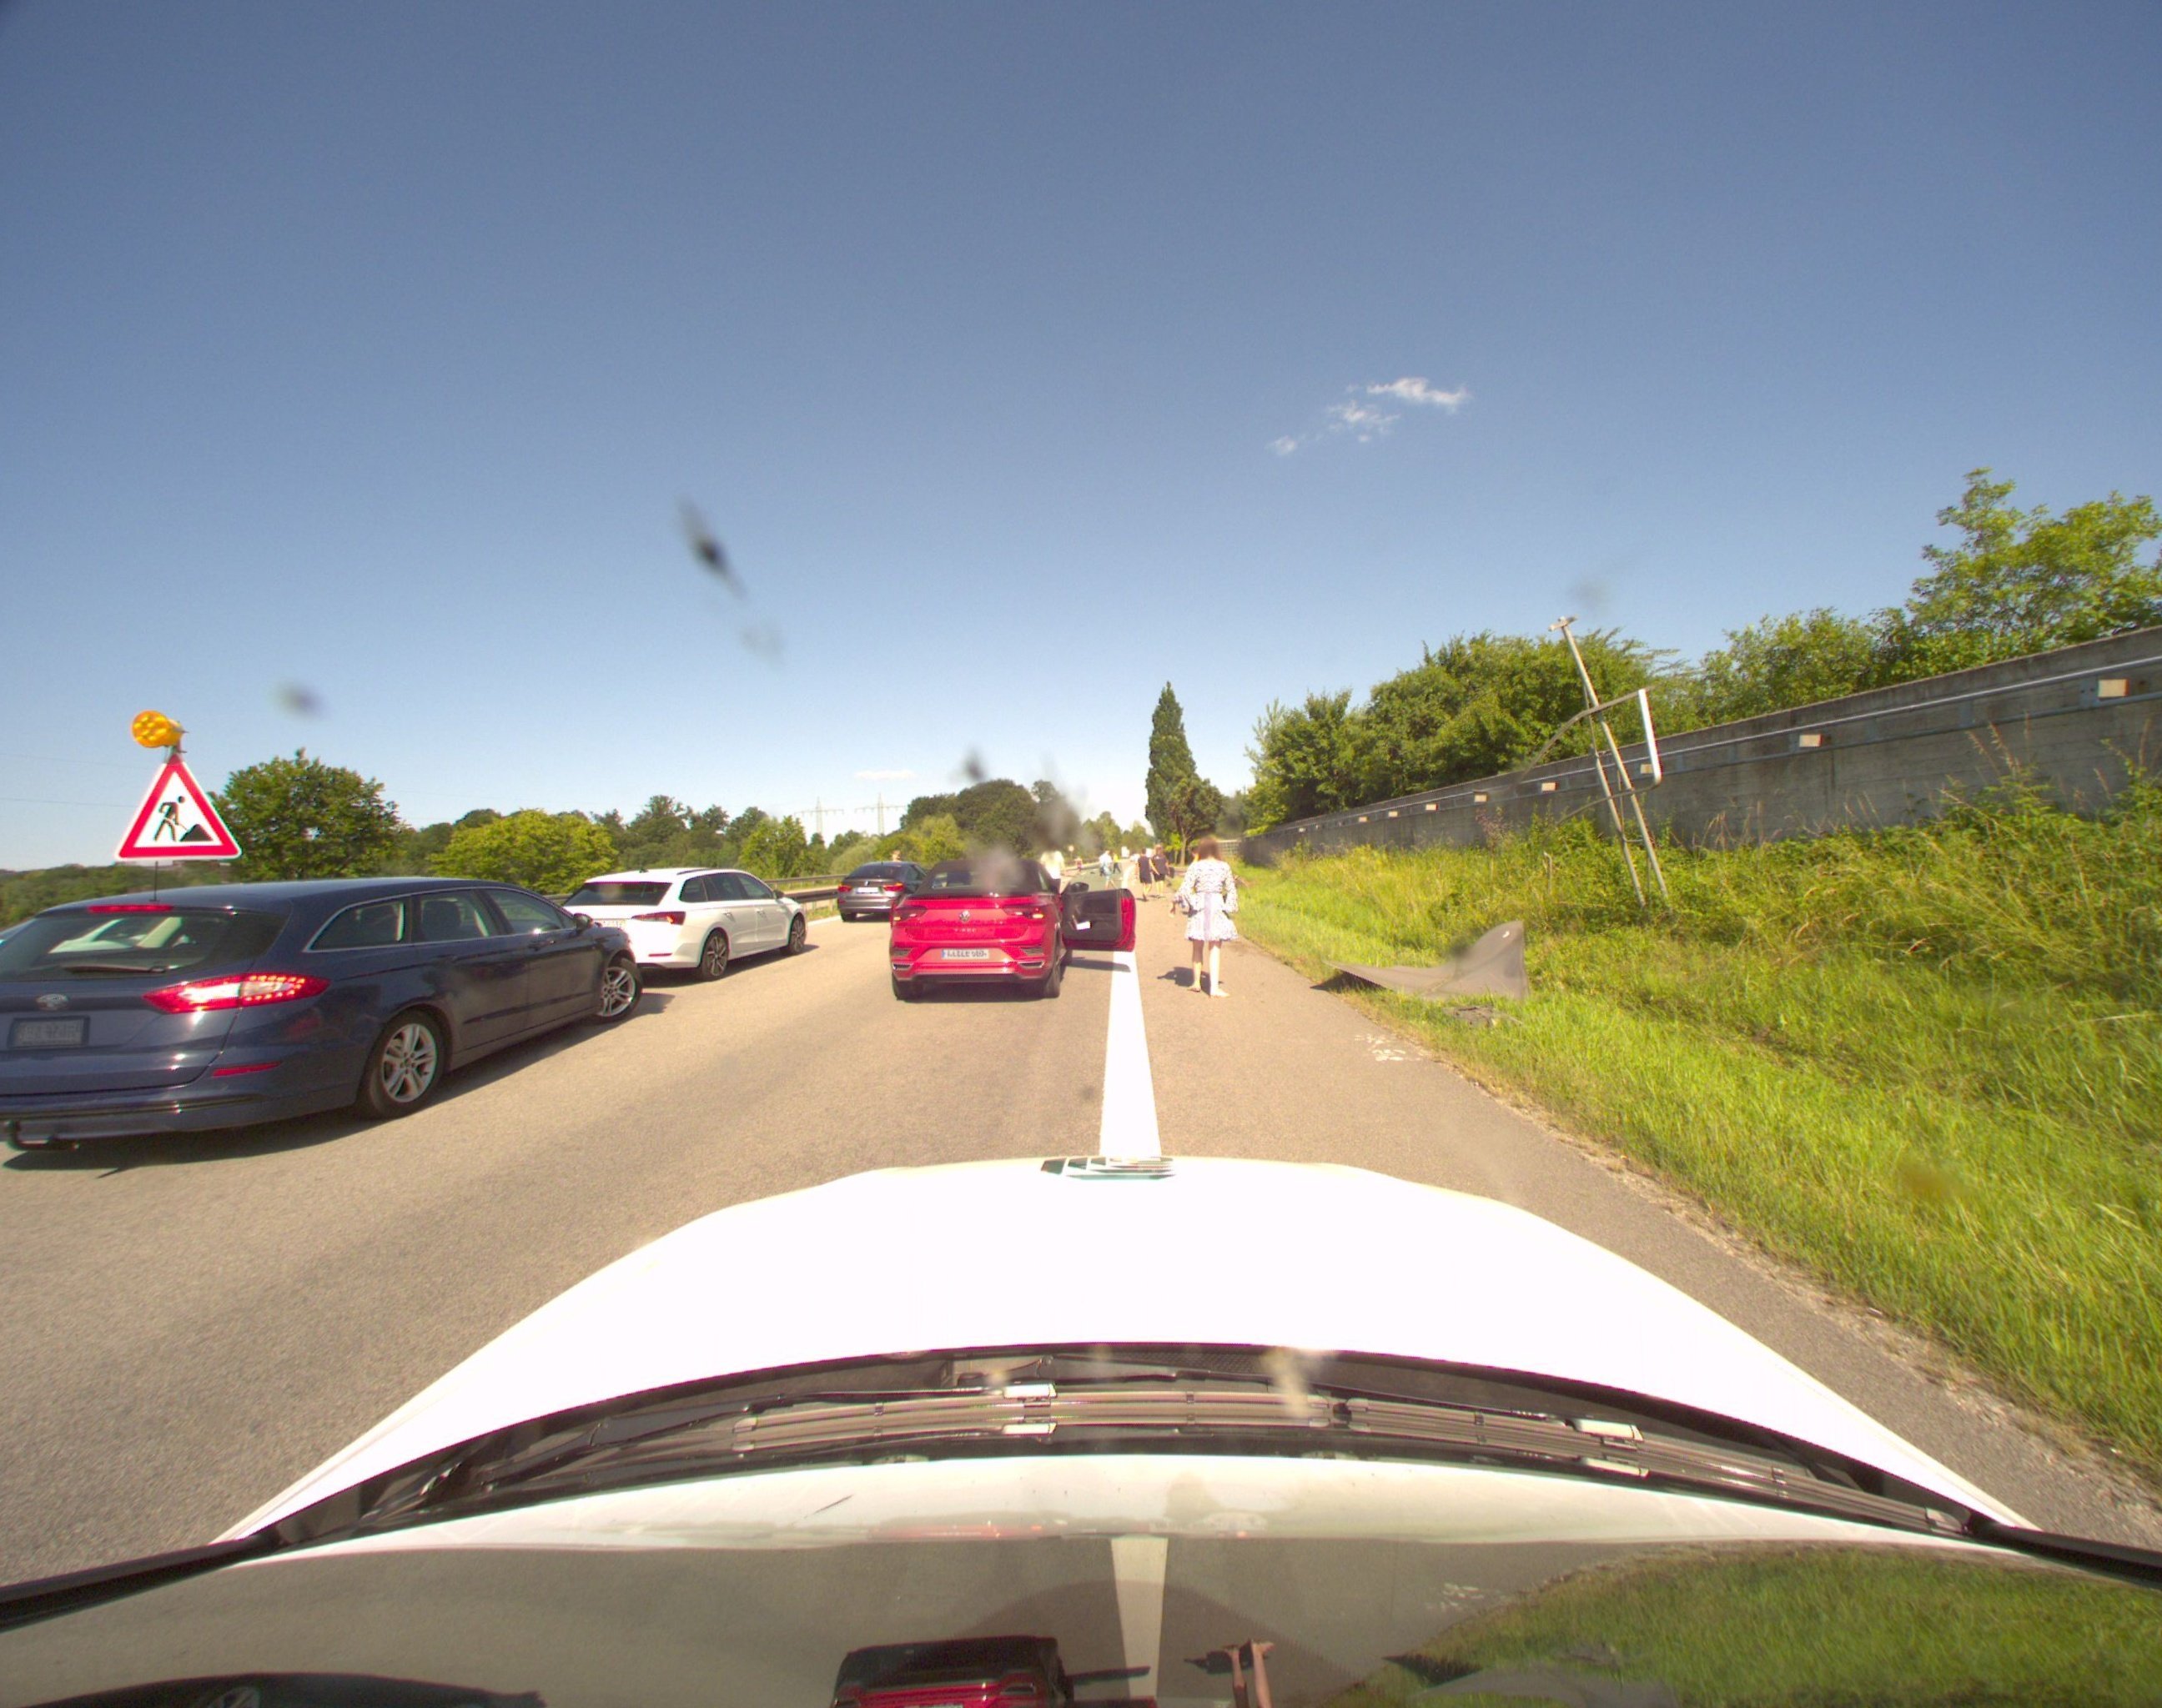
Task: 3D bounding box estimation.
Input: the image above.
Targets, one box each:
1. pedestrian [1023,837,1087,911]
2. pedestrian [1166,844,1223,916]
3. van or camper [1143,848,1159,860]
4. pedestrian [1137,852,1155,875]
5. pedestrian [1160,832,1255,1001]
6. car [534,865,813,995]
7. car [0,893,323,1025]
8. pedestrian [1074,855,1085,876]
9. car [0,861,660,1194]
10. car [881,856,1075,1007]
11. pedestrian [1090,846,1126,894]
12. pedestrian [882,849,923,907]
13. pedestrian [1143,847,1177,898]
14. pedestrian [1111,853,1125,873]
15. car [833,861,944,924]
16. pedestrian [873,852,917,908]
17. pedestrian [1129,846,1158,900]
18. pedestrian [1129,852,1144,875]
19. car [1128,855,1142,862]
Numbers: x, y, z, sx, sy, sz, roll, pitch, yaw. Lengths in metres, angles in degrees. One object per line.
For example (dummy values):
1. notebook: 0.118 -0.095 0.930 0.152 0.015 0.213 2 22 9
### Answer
1. pedestrian: -0.693 0.537 21.948 1.241 1.912 1.116 -3 0 32
2. pedestrian: 2.758 0.625 19.683 1.266 1.653 0.963 -2 0 9
3. van or camper: 13.889 0.073 161.880 1.977 2.316 4.492 -1 -1 20
4. pedestrian: 4.967 0.718 62.319 1.012 1.689 0.991 0 -1 -25
5. pedestrian: 1.346 0.640 8.878 0.885 1.695 1.130 -2 0 5
6. car: -5.456 0.921 11.613 1.688 1.441 4.213 -1 0 2
7. car: -14.097 1.409 12.035 1.688 1.426 4.306 -1 0 1
8. pedestrian: -0.142 0.975 68.419 0.787 1.689 0.794 -1 -1 7
9. car: -5.030 0.846 6.083 1.786 1.493 4.483 -2 0 -6
10. car: -1.051 0.783 10.278 1.725 1.487 4.213 -1 0 2
11. pedestrian: 1.023 0.587 31.049 1.090 1.789 1.102 -1 -1 -16
12. pedestrian: -6.088 0.807 27.841 1.061 1.883 1.094 -2 0 2
13. pedestrian: 2.764 0.631 28.464 0.817 1.759 0.819 -1 -1 43
14. pedestrian: 3.137 0.772 68.486 1.008 1.689 1.062 -1 -1 8
15. car: -4.918 0.918 21.400 1.688 1.426 4.336 -1 0 2
16. pedestrian: -6.075 0.837 26.667 1.110 1.763 1.044 -2 0 1
17. pedestrian: 2.031 0.611 26.690 0.891 1.725 0.755 -1 -1 2
18. pedestrian: 4.272 0.718 62.601 1.109 1.689 0.974 -1 -1 2
19. car: 11.190 0.939 168.767 1.718 1.487 4.230 -1 0 19
